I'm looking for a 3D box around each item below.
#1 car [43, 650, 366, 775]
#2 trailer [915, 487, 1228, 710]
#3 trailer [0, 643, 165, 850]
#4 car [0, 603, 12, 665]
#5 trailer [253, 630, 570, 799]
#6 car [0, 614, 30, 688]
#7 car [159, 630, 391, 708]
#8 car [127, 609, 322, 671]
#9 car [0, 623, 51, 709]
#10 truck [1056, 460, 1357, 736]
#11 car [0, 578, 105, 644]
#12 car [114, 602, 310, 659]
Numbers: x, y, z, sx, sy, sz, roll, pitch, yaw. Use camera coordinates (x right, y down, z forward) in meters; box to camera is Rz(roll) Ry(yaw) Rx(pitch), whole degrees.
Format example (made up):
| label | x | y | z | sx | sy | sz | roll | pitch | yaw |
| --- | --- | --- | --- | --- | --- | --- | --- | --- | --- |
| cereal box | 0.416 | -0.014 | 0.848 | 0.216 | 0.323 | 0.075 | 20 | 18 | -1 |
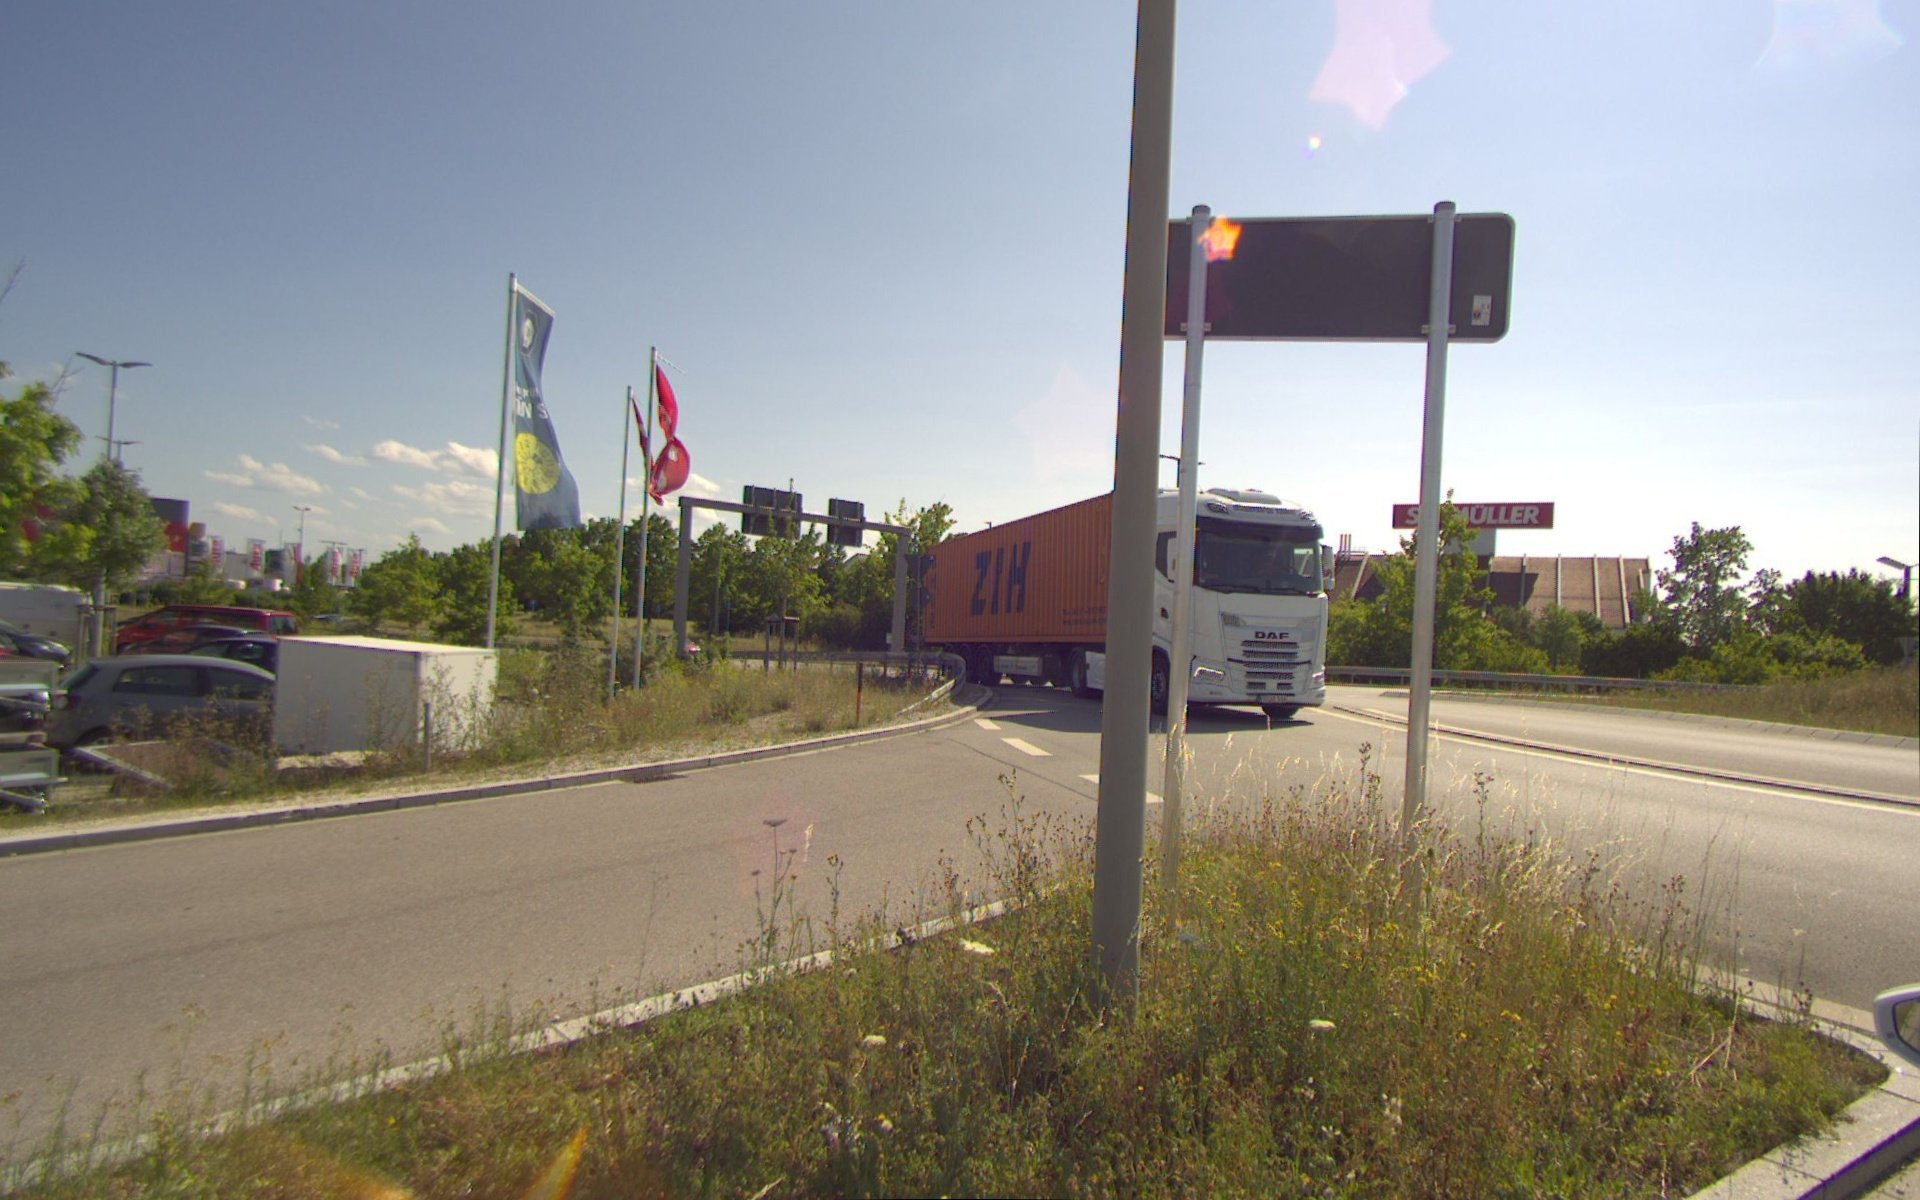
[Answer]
| label | x | y | z | sx | sy | sz | roll | pitch | yaw |
| --- | --- | --- | --- | --- | --- | --- | --- | --- | --- |
| car | -11.329 | 1.603 | 15.268 | 3.713 | 1.572 | 1.724 | 3 | 0 | -40 |
| trailer | 1.976 | 0.051 | 25.249 | 2.522 | 4.208 | 12.304 | 2 | -1 | -20 |
| trailer | -10.657 | 1.423 | 10.621 | 3.623 | 1.795 | 1.808 | 2 | 0 | 19 |
| car | -25.348 | 0.758 | 23.802 | 3.964 | 1.483 | 1.806 | 3 | 0 | -37 |
| trailer | -7.574 | 1.476 | 13.939 | 3.624 | 1.795 | 1.808 | 4 | 1 | 19 |
| car | -22.062 | 1.014 | 20.734 | 3.964 | 1.483 | 1.806 | 3 | 0 | -37 |
| car | -15.677 | 1.574 | 23.186 | 3.926 | 1.483 | 1.824 | 4 | -3 | -6 |
| car | -20.312 | 1.087 | 27.885 | 3.925 | 1.483 | 1.823 | 3 | 0 | -6 |
| car | -18.149 | 1.107 | 17.037 | 3.971 | 1.483 | 1.803 | 3 | -3 | -42 |
| truck | 4.159 | 0.025 | 18.638 | 2.618 | 4.161 | 6.416 | 2 | -1 | -14 |
| car | -30.638 | 0.324 | 32.617 | 4.316 | 2.040 | 1.881 | 3 | 0 | -41 |
| car | -22.544 | 0.901 | 30.432 | 4.372 | 1.483 | 1.823 | 3 | 0 | -6 |
